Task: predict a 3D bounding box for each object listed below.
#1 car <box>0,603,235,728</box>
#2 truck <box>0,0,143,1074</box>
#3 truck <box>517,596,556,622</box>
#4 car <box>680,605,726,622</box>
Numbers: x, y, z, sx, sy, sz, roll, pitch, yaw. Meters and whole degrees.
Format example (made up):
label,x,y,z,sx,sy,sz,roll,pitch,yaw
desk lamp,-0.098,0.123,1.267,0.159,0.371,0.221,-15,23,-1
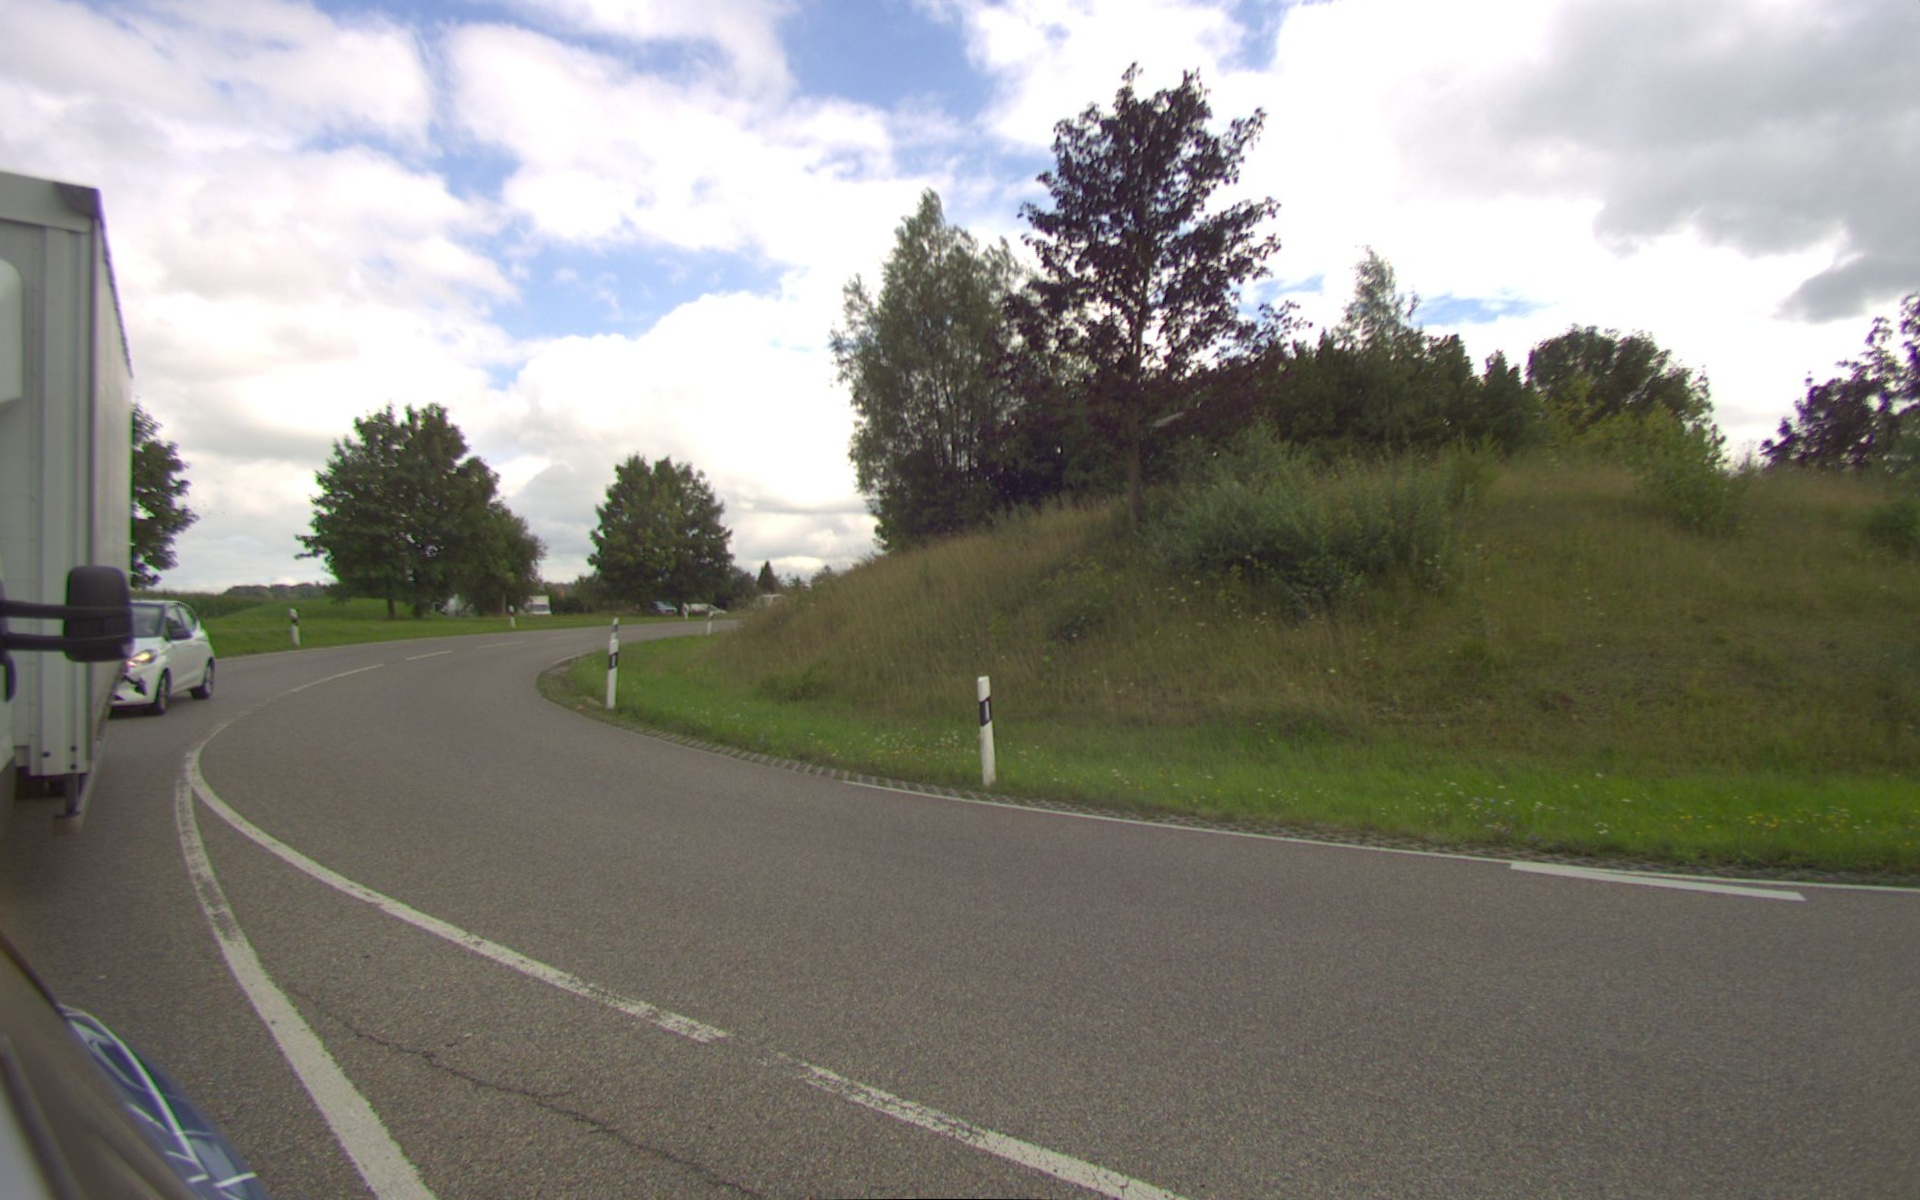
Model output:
label,x,y,z,sx,sy,sz,roll,pitch,yaw
car,-11.753,0.833,14.391,1.721,1.477,4.013,-1,-1,-26
truck,-6.516,-0.435,5.781,2.794,3.792,8.815,1,-1,-39
truck,-41.949,0.885,100.118,2.254,2.439,6.398,-1,-1,-35
car,-26.790,1.402,105.611,4.328,1.597,2.007,-1,-1,-24
